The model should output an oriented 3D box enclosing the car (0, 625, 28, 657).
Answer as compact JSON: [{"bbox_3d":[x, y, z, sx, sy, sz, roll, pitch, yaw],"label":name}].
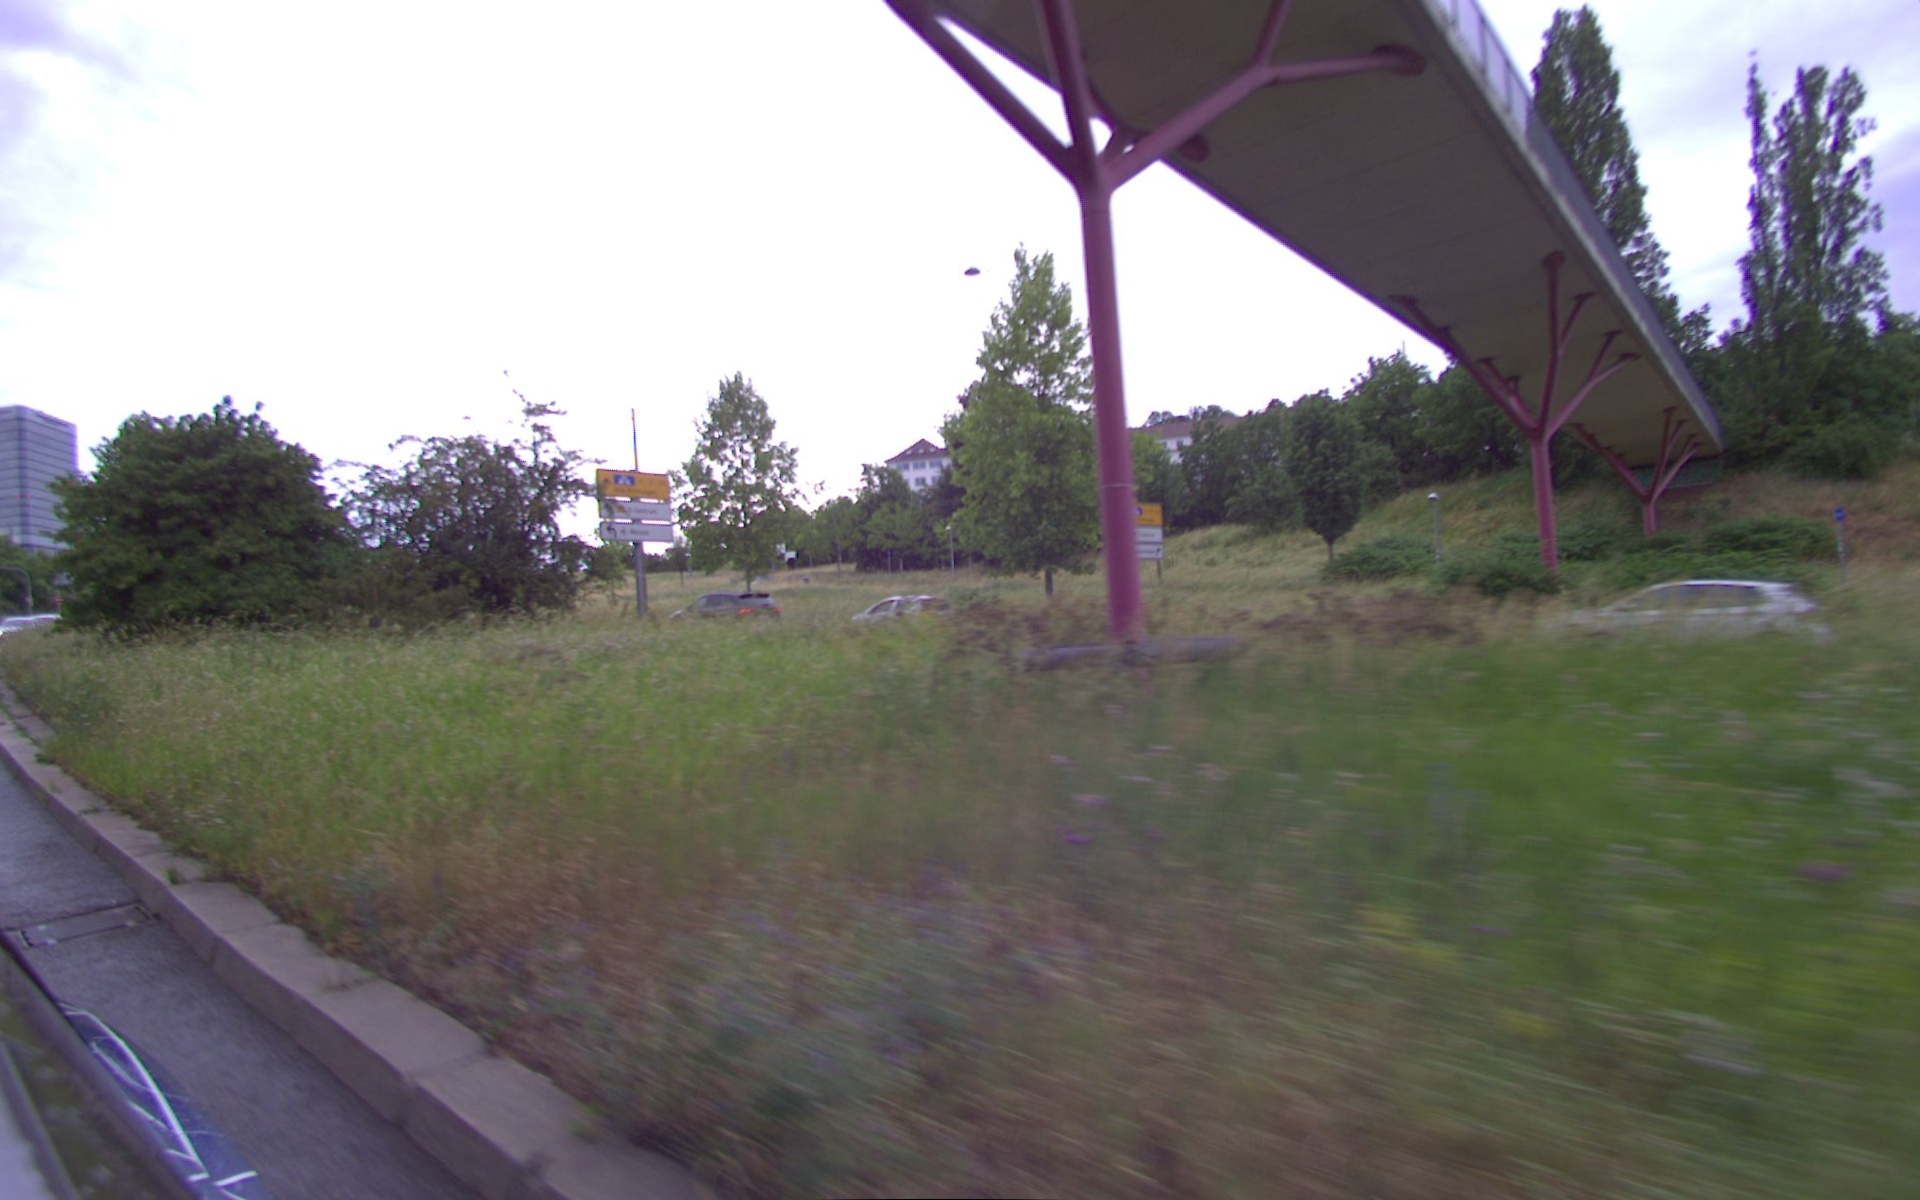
[{"bbox_3d":[-56.045,2.398,59.062,1.967,1.785,4.009,-2,0,-37],"label":"car"}]

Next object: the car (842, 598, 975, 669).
[{"bbox_3d":[-1.691,1.024,32.732,3.998,2.028,1.973,-1,3,41],"label":"car"}]

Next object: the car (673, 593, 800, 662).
[{"bbox_3d":[-7.303,0.849,32.945,3.998,2.028,1.973,-1,3,41],"label":"car"}]

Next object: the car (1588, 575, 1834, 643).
[{"bbox_3d":[12.029,0.133,16.302,3.085,0.951,1.253,-1,3,41],"label":"car"}]

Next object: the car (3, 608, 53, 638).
[{"bbox_3d":[-59.409,1.454,64.576,1.968,1.785,4.008,-2,0,-38],"label":"car"}]
